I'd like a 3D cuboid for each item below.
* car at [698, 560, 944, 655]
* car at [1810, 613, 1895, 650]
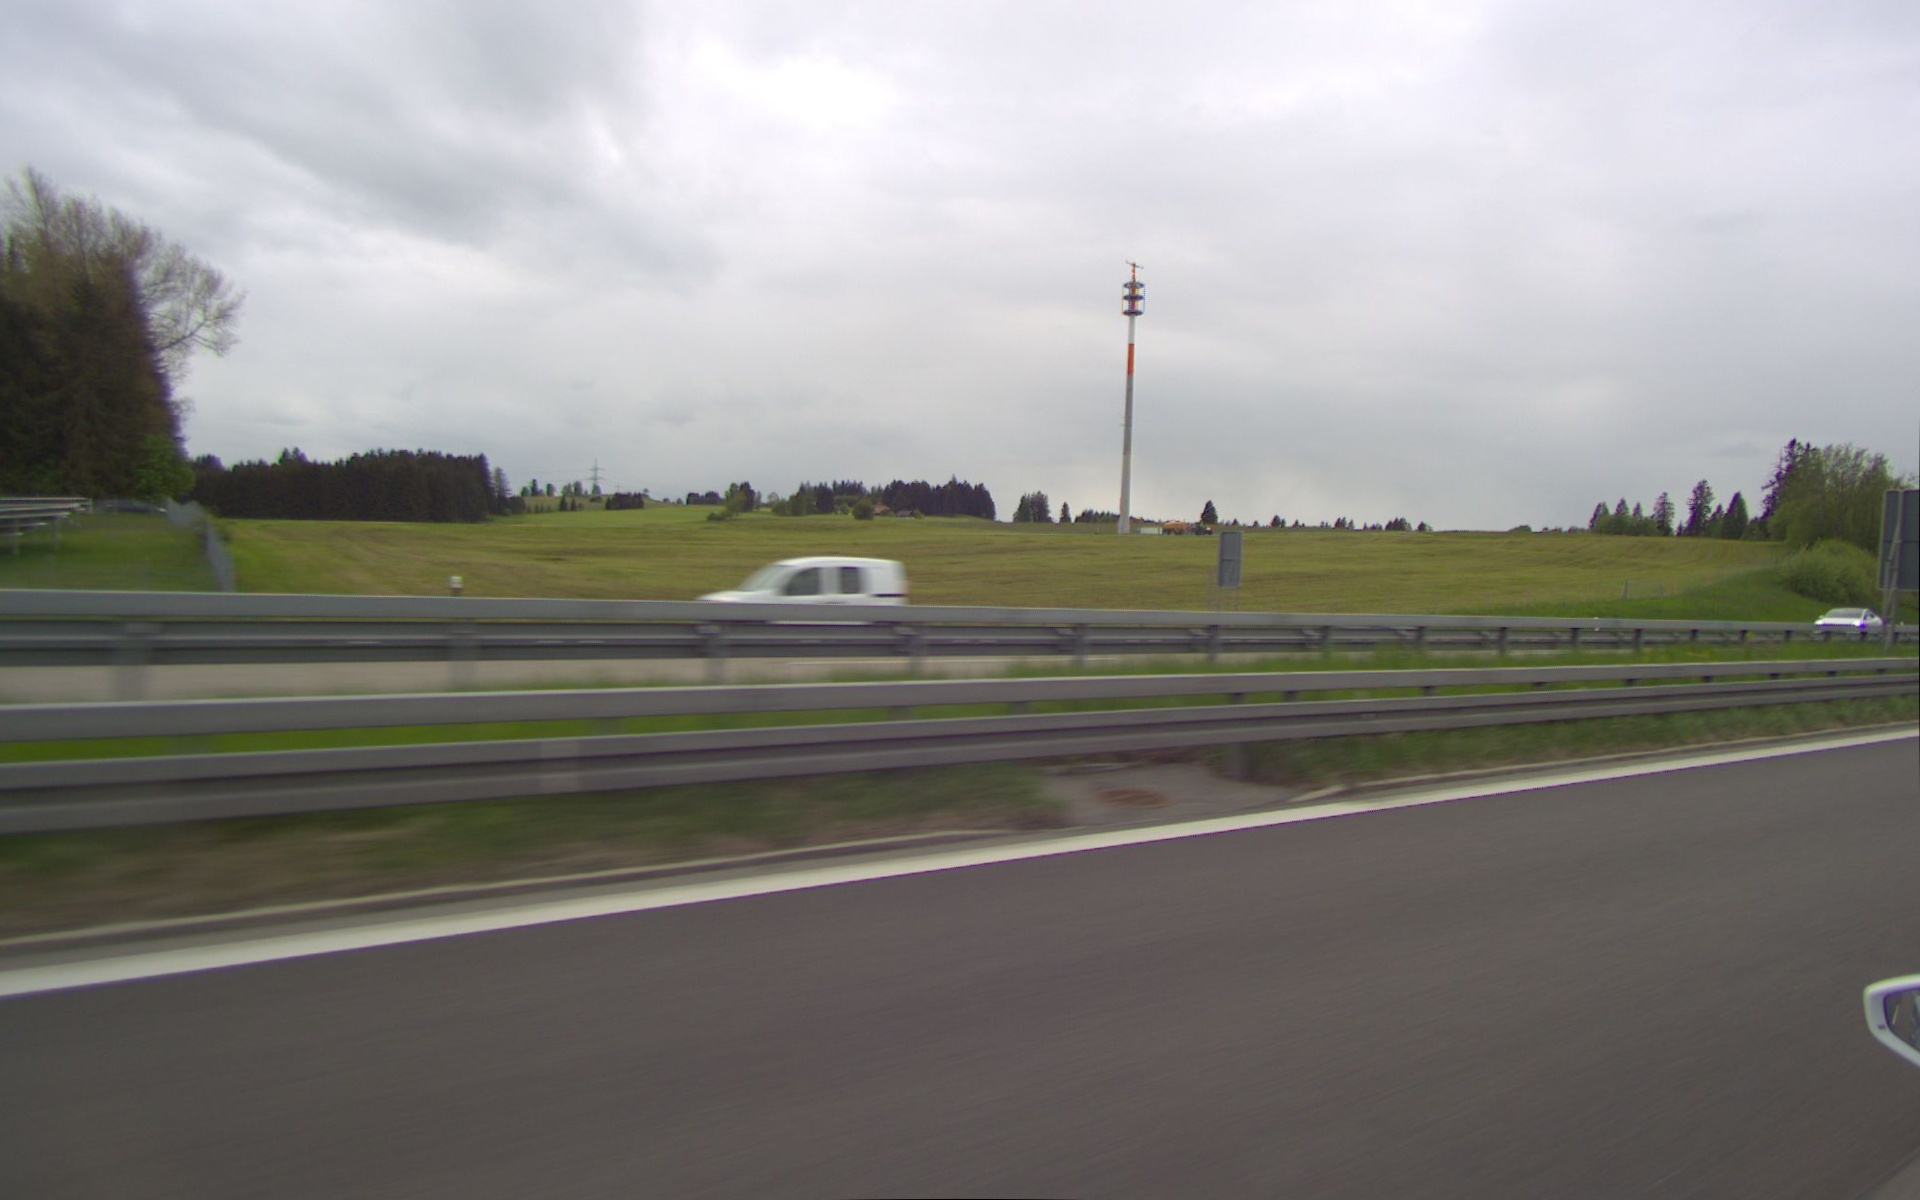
[{"bbox_3d":[-2.816,0.138,20.604,4.572,1.709,1.983,1,3,-30],"label":"car"},{"bbox_3d":[46.706,1.634,52.536,5.001,1.713,2.023,1,3,-34],"label":"car"}]
